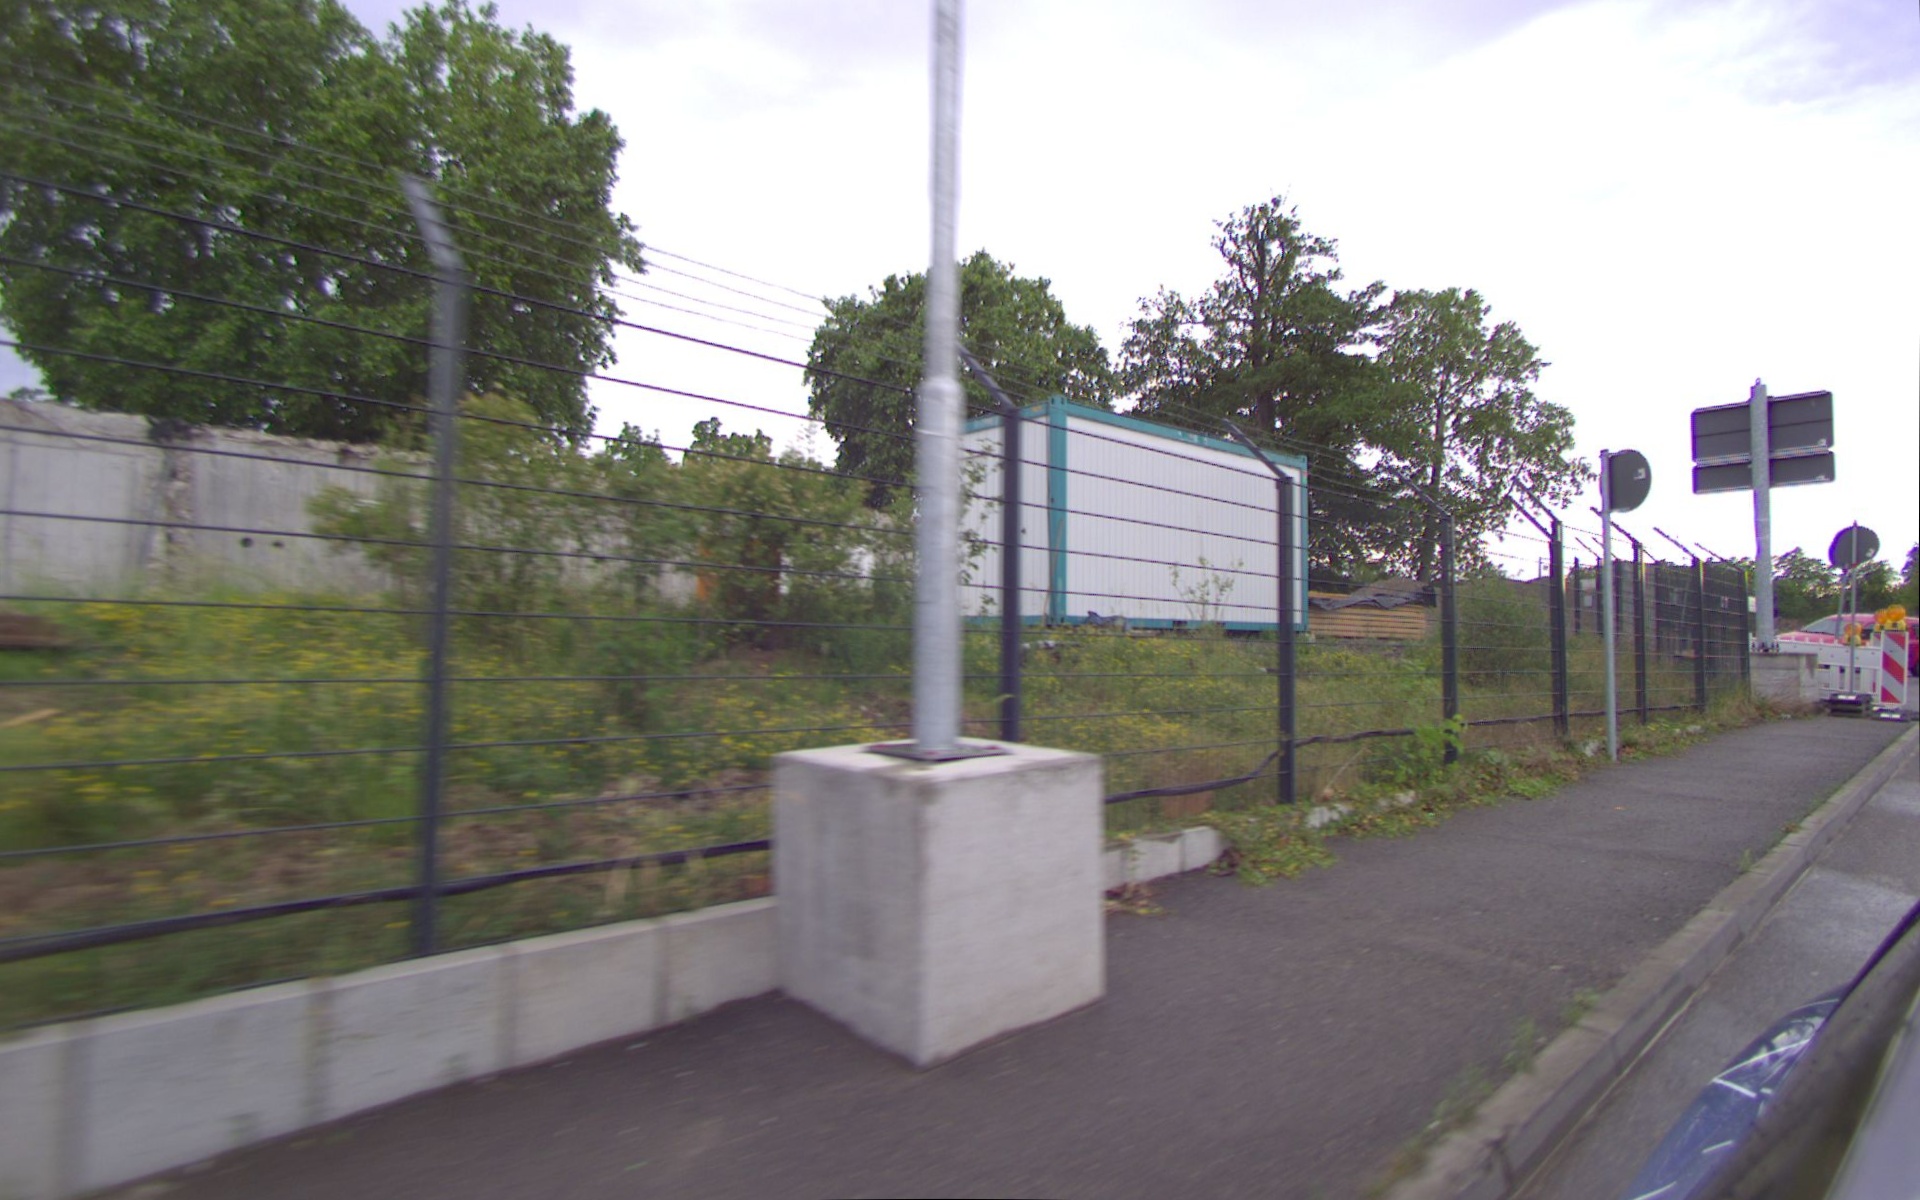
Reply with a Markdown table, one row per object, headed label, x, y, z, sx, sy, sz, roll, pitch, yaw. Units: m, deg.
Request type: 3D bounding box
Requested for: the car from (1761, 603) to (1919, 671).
| label | x | y | z | sx | sy | sz | roll | pitch | yaw |
| --- | --- | --- | --- | --- | --- | --- | --- | --- | --- |
| car | 25.004 | 1.025 | 28.104 | 4.318 | 1.817 | 1.827 | 1 | -1 | -8 |
